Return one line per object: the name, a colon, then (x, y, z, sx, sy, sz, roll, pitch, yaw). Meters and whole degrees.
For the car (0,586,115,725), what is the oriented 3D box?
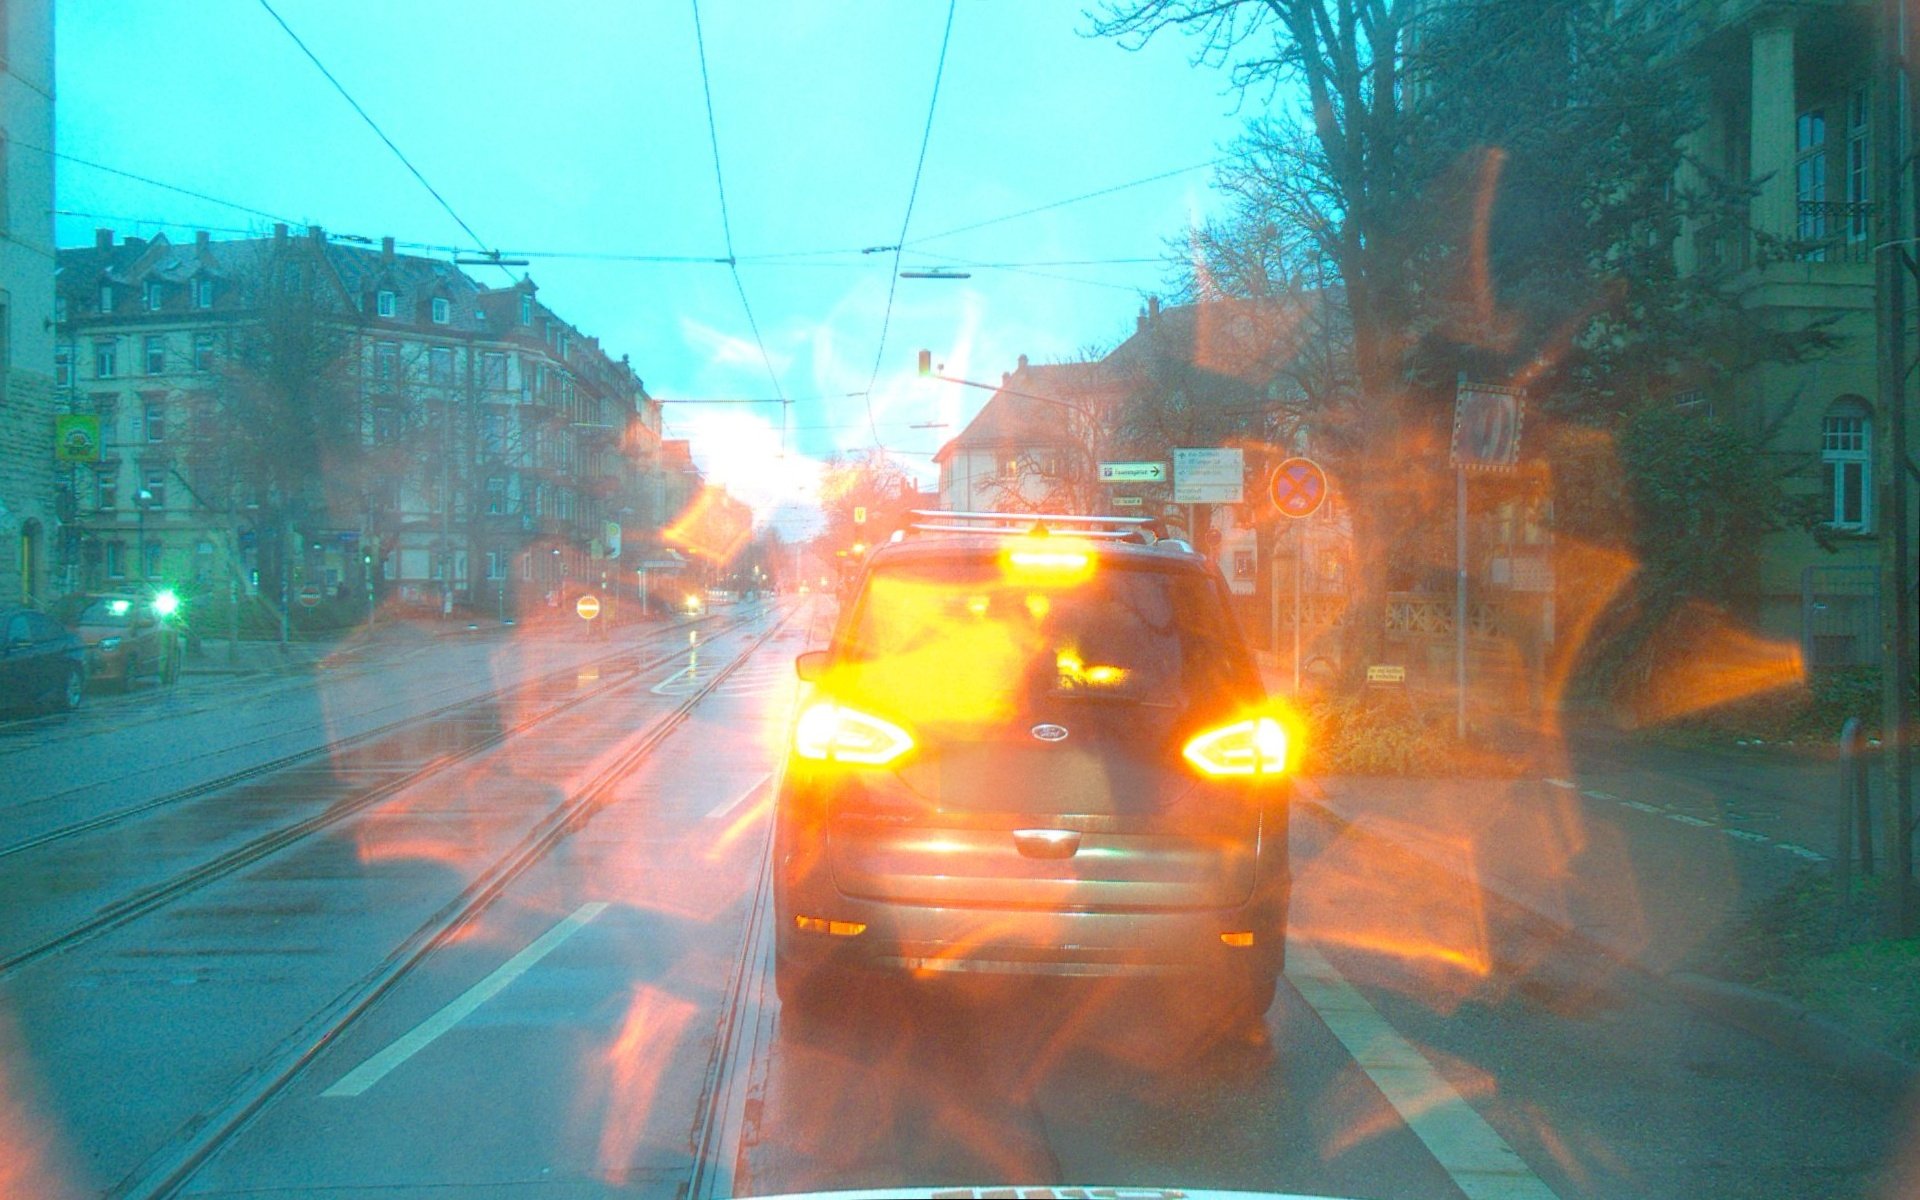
car: (-13.119, 0.669, 21.762, 1.949, 1.674, 4.624, 5, -1, -7)

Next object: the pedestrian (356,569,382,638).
pedestrian: (-17.747, 0.094, 49.699, 0.695, 2.049, 0.656, 0, 0, -24)

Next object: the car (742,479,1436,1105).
car: (0.308, 0.572, 7.339, 2.061, 1.848, 4.658, 2, 0, -2)

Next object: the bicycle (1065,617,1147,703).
bicycle: (2.122, 0.857, 24.339, 0.703, 1.131, 1.938, 4, 0, -9)

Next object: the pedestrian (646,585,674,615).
pedestrian: (-12.298, 0.001, 67.815, 1.027, 1.221, 0.884, 1, 0, -4)

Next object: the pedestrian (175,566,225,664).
pedestrian: (-16.165, 0.311, 35.168, 0.742, 2.049, 0.646, 0, -1, 32)

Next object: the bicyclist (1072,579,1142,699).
bicyclist: (2.145, 0.558, 24.310, 0.703, 1.691, 1.054, 4, 0, -9)

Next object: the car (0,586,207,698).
car: (-14.272, 0.646, 27.623, 2.000, 1.578, 4.023, 4, 0, -10)
